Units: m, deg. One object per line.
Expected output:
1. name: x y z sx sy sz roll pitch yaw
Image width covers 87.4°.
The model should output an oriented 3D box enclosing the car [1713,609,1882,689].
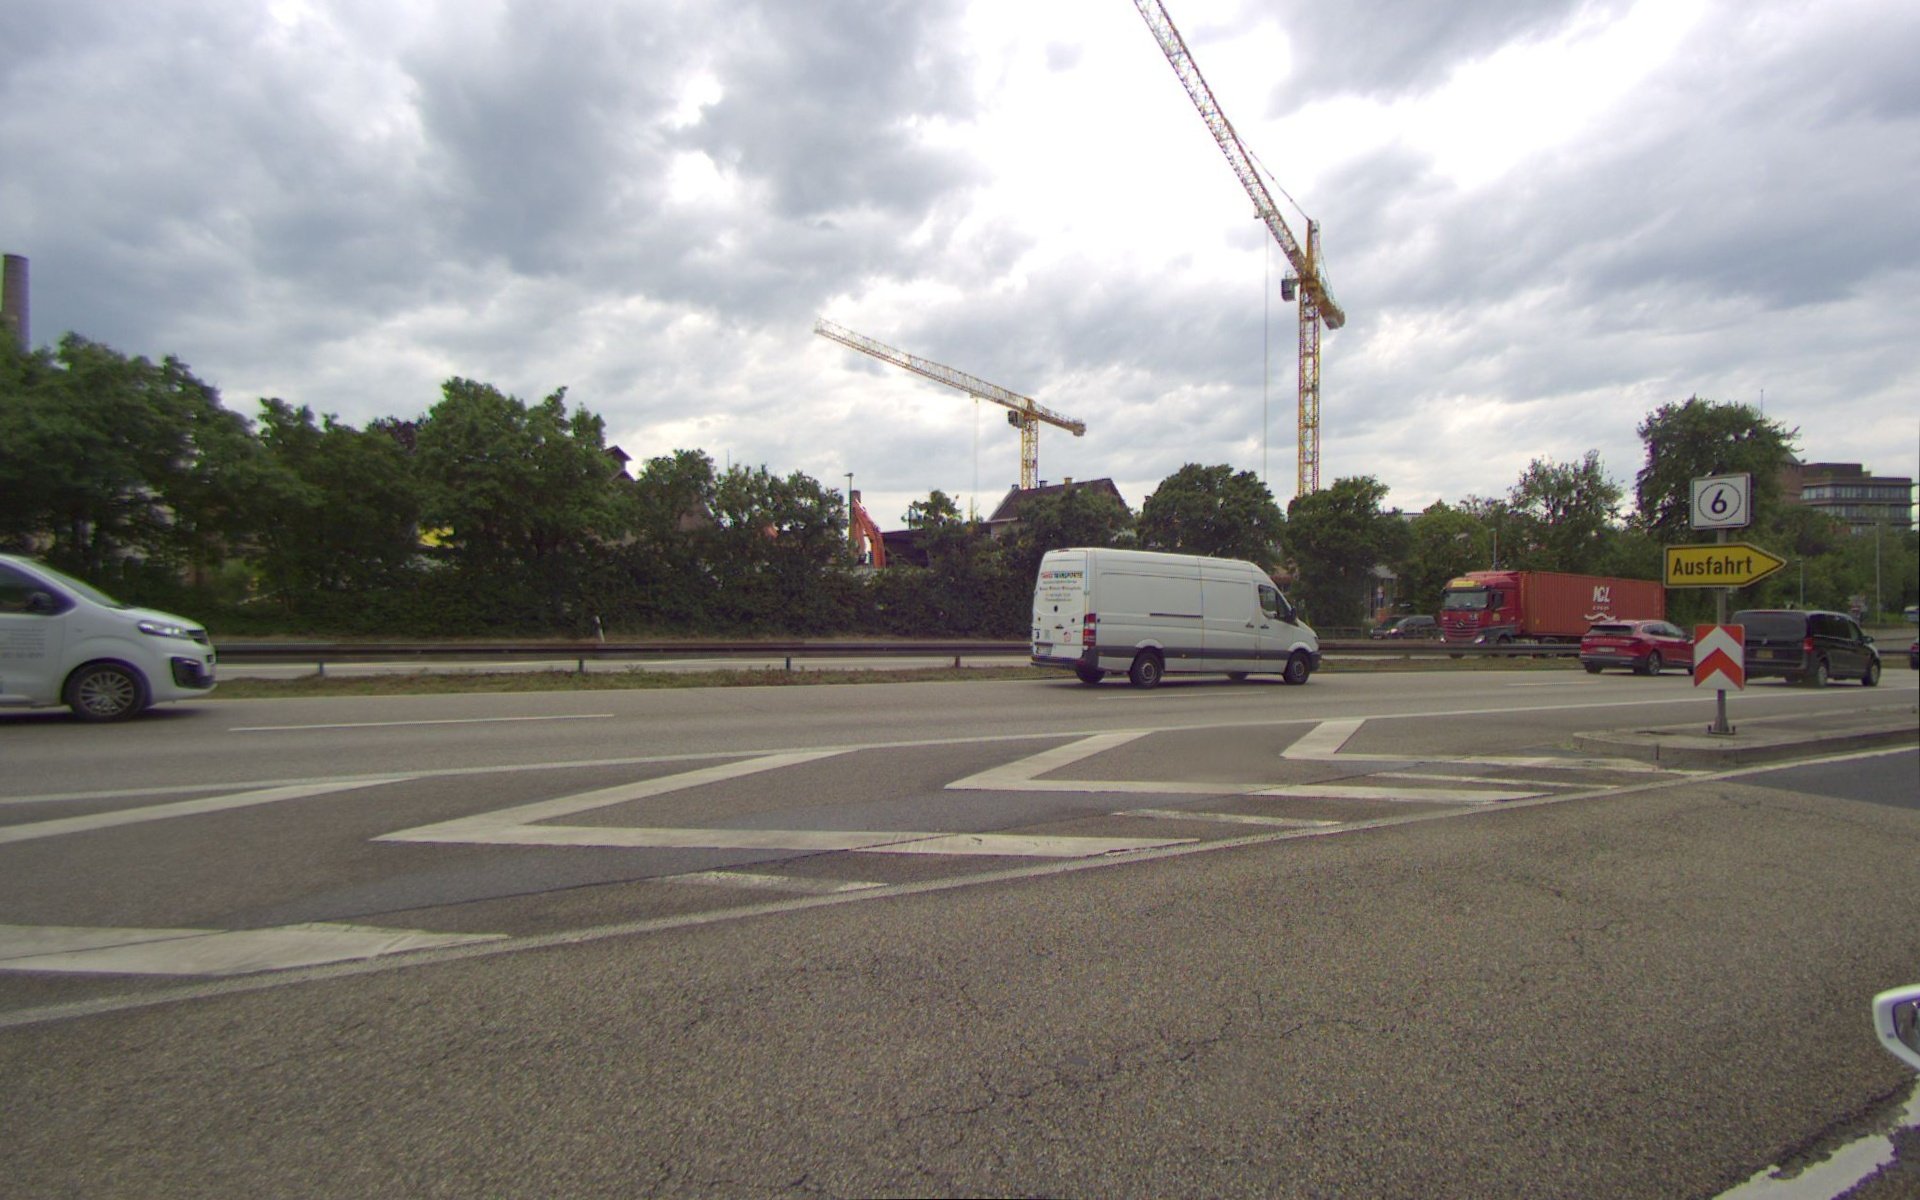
1. car: 21.710 1.219 25.994 4.758 1.876 1.983 1 0 -32

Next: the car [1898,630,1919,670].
1. car: 43.266 2.183 44.202 4.258 1.704 1.880 1 -1 -32

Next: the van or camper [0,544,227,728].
1. van or camper: -11.184 0.377 11.104 4.797 1.945 1.910 1 -1 -32

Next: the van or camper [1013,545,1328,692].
1. van or camper: 4.524 0.412 20.899 6.876 2.656 2.039 1 -1 -31

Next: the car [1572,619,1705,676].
1. car: 20.350 1.409 30.115 3.897 1.588 1.759 1 -1 -29

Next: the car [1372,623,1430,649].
1. car: 24.730 2.008 56.323 3.382 1.426 1.327 1 -1 -32

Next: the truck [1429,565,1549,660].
1. truck: 24.412 0.604 46.320 4.850 4.118 2.750 1 -1 -30

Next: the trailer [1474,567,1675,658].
1. trailer: 30.956 0.713 50.238 13.197 4.118 2.751 1 -1 -31
